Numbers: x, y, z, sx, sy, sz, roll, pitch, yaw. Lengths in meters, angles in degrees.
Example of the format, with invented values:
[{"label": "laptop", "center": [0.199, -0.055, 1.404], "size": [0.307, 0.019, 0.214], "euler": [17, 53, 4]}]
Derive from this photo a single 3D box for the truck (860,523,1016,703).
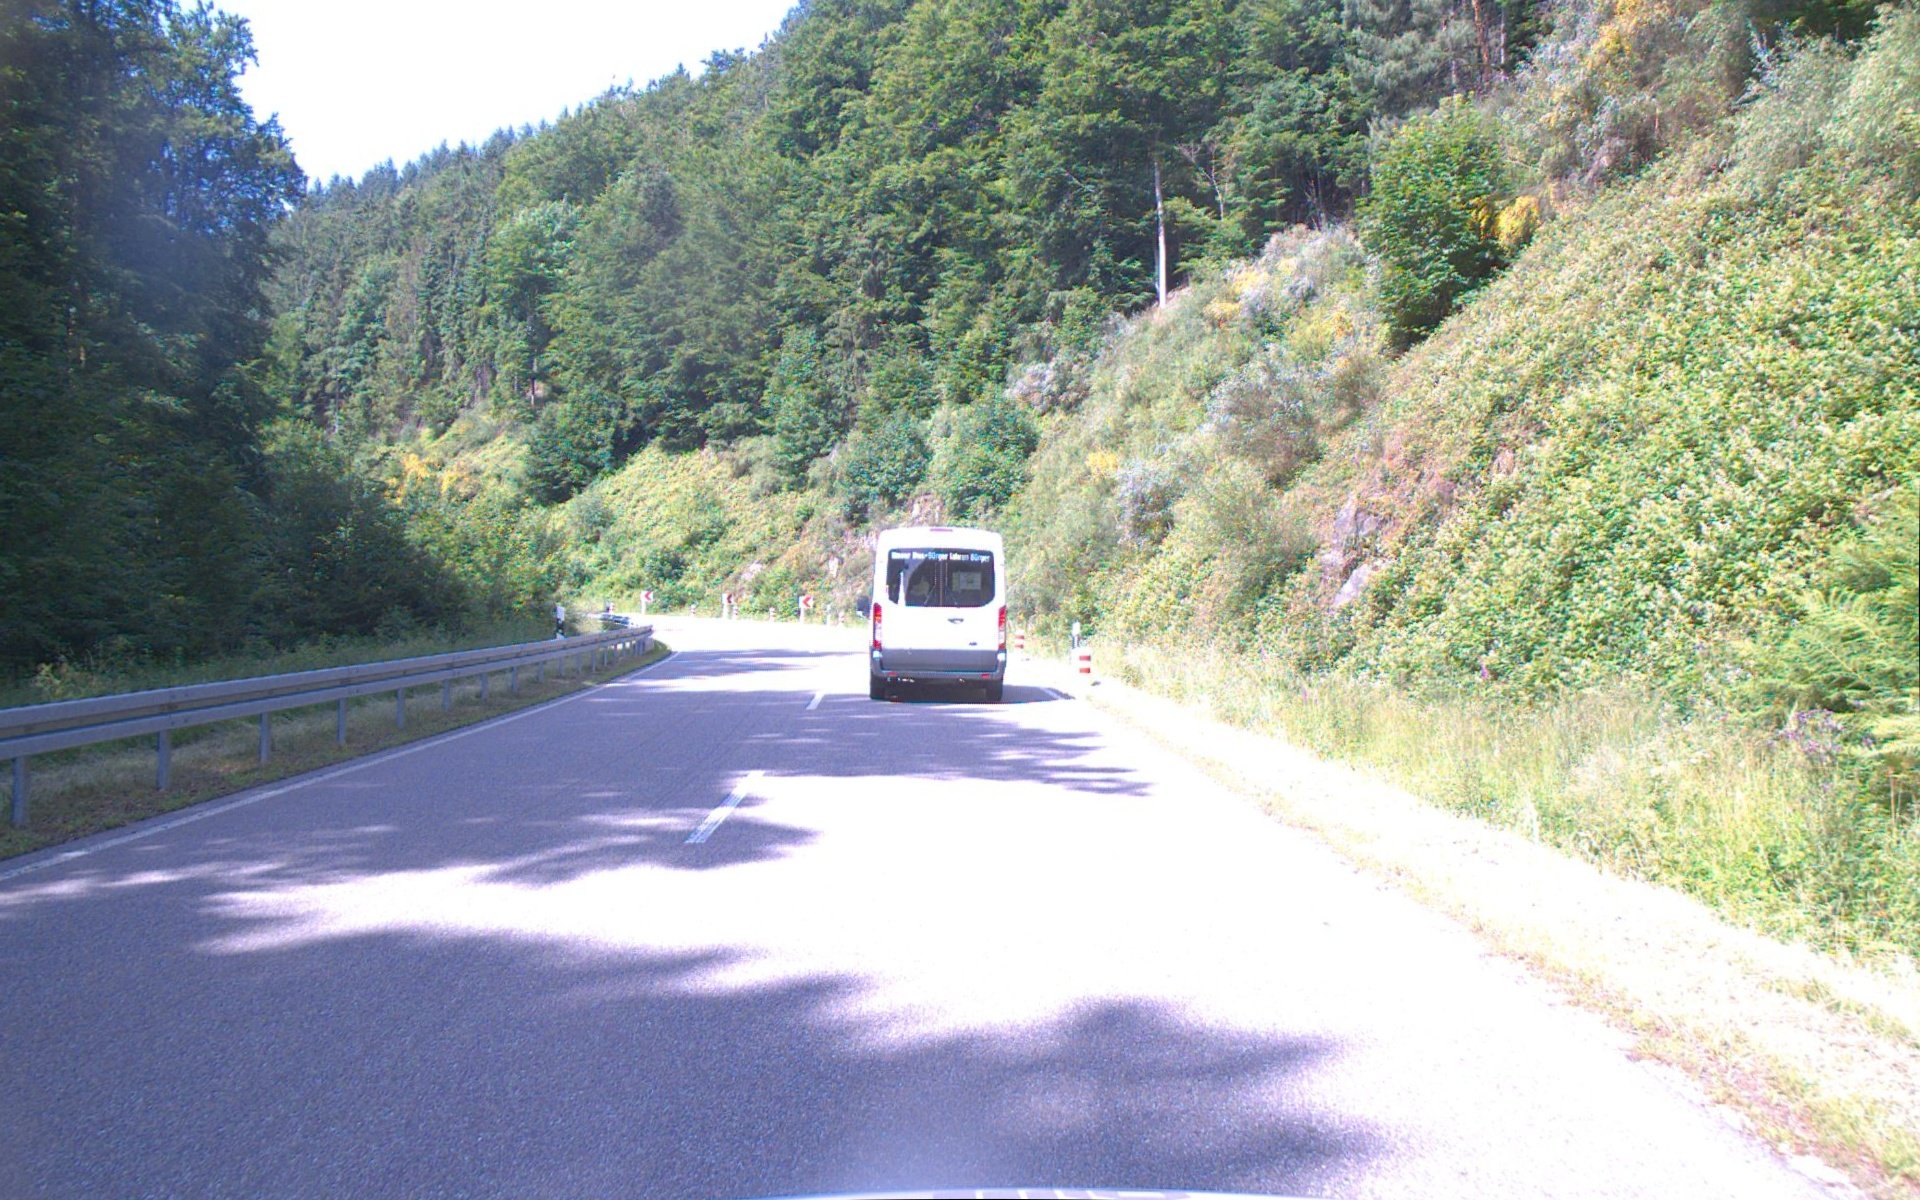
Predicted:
[{"label": "truck", "center": [-0.449, 0.190, 25.610], "size": [2.043, 2.503, 4.869], "euler": [0, 0, -5]}]
